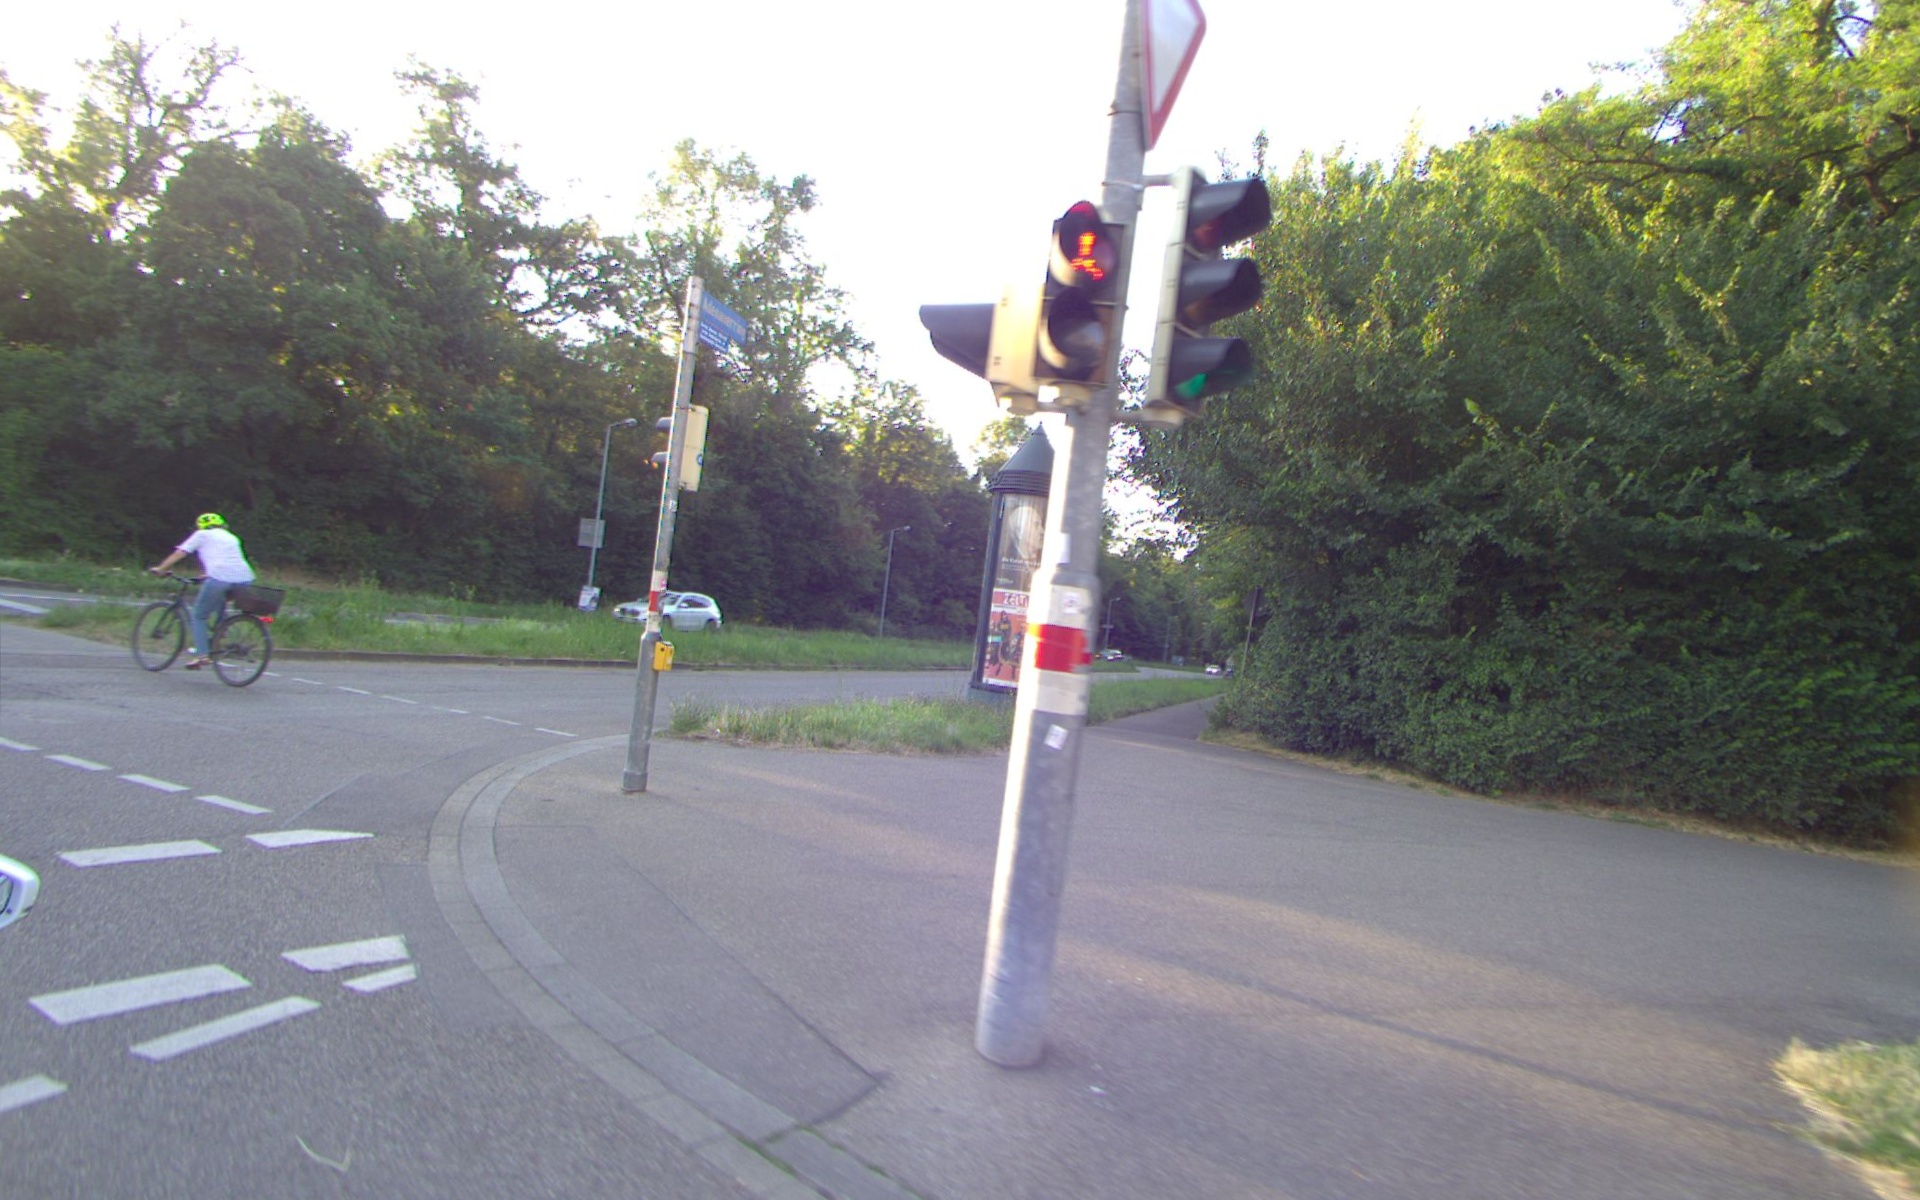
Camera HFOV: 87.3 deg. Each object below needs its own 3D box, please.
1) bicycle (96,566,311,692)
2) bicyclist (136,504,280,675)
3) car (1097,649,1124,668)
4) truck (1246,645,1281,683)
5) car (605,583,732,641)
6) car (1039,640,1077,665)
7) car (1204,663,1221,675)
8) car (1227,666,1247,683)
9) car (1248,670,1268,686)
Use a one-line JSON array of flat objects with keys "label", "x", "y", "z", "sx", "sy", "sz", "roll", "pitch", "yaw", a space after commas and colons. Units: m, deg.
[{"label": "bicycle", "x": -7.639, "y": 0.294, "z": 10.182, "sx": 1.768, "sy": 1.026, "sz": 0.566, "roll": 7, "pitch": -1, "yaw": 8}, {"label": "bicyclist", "x": -7.604, "y": -0.097, "z": 10.190, "sx": 0.882, "sy": 1.588, "sz": 0.556, "roll": 7, "pitch": 0, "yaw": 8}, {"label": "car", "x": 15.855, "y": 6.165, "z": 105.687, "sx": 1.963, "sy": 1.646, "sz": 4.655, "roll": 5, "pitch": -2, "yaw": 19}, {"label": "truck", "x": 37.392, "y": 7.964, "z": 123.629, "sx": 2.618, "sy": 4.074, "sz": 9.724, "roll": 7, "pitch": -1, "yaw": 23}, {"label": "car", "x": -10.321, "y": 0.491, "z": 35.971, "sx": 1.794, "sy": 1.632, "sz": 4.643, "roll": 4, "pitch": -3, "yaw": 21}, {"label": "car", "x": 7.513, "y": 4.046, "z": 76.528, "sx": 1.785, "sy": 1.646, "sz": 4.454, "roll": 5, "pitch": -2, "yaw": 19}, {"label": "car", "x": 39.222, "y": 10.753, "z": 156.170, "sx": 1.963, "sy": 1.473, "sz": 3.815, "roll": 6, "pitch": -4, "yaw": 21}, {"label": "car", "x": 24.992, "y": 6.719, "z": 90.656, "sx": 1.576, "sy": 1.347, "sz": 2.997, "roll": 7, "pitch": -2, "yaw": 16}, {"label": "car", "x": 32.511, "y": 8.513, "z": 109.670, "sx": 1.672, "sy": 1.422, "sz": 4.079, "roll": 7, "pitch": -2, "yaw": 20}]
